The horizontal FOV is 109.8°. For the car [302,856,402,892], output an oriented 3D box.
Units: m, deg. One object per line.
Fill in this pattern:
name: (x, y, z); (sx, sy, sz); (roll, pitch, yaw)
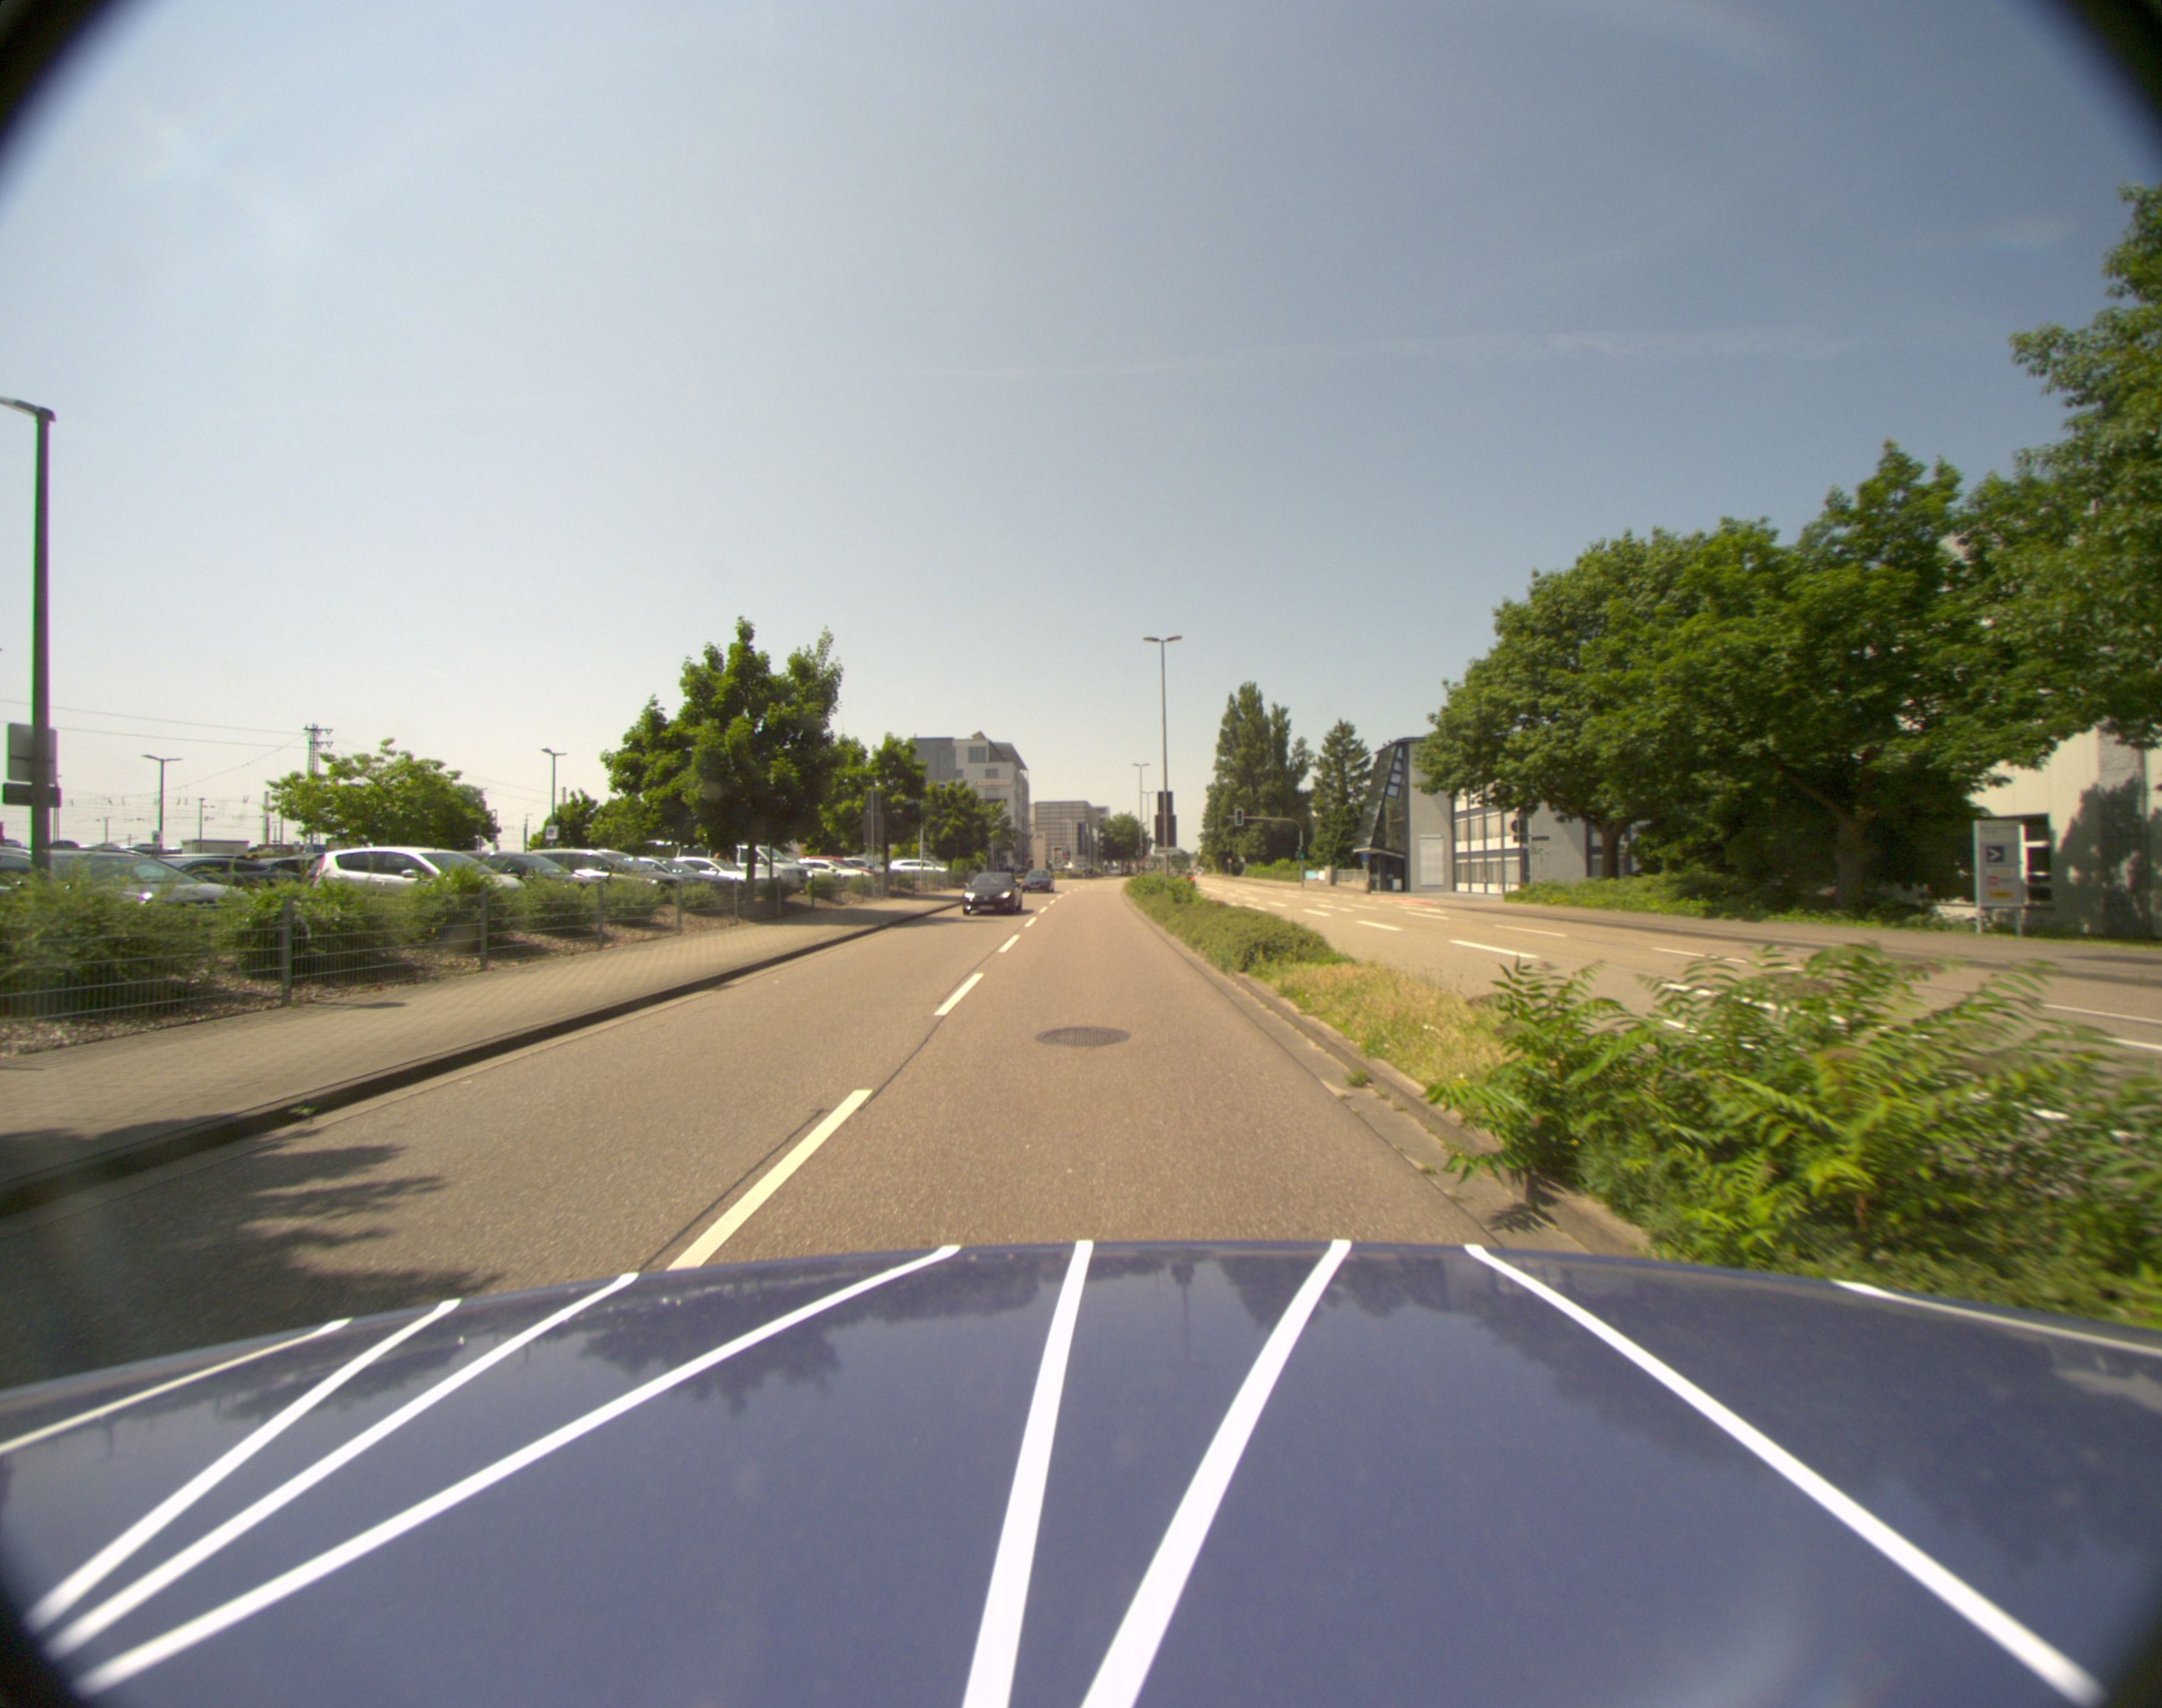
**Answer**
car: (-30.341, 0.836, 31.716); (1.268, 1.411, 2.958); (1, -1, 1)

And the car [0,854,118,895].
car: (-44.677, 0.868, 32.536); (1.784, 1.674, 3.860); (0, -1, 6)

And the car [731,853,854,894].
car: (-11.866, 0.804, 31.431); (4.377, 1.583, 1.828); (0, -1, 3)

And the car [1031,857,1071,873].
car: (-3.837, 1.420, 96.758); (4.704, 1.787, 2.184); (-3, -1, 7)

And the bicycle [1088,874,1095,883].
bicycle: (1.401, 3.266, 100.842); (0.759, 1.126, 1.908); (-2, -1, 3)

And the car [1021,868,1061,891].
car: (-2.320, 1.499, 45.332); (1.710, 1.315, 3.958); (-1, -1, 7)

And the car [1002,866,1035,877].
car: (-7.713, 2.196, 94.311); (3.880, 1.331, 1.757); (0, -1, 2)

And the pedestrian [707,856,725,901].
pedestrian: (-13.080, 0.870, 27.250); (0.416, 1.605, 0.447); (1, 0, -2)

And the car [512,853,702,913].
car: (-12.743, 0.748, 20.595); (3.996, 1.525, 1.827); (0, 0, 3)

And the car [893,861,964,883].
car: (-10.695, 1.251, 53.379); (4.587, 1.496, 1.698); (0, -1, 1)

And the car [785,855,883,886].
car: (-11.612, 0.768, 35.873); (4.005, 1.413, 1.698); (0, -1, 2)

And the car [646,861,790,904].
car: (-12.258, 0.942, 25.808); (3.996, 1.381, 1.828); (0, -1, 3)

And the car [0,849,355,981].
car: (-13.379, 0.742, 10.344); (5.003, 1.586, 2.023); (1, 0, 0)

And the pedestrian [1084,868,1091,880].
pedestrian: (0.956, 2.741, 104.526); (0.830, 1.616, 1.005); (-1, 1, 5)

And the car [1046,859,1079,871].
car: (-2.606, 1.531, 108.018); (4.473, 1.600, 2.097); (-2, 0, 3)

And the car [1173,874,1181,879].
car: (26.468, 6.266, 209.938); (1.763, 1.410, 4.094); (1, -1, 3)

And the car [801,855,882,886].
car: (-12.282, 0.830, 39.100); (3.598, 1.527, 1.723); (0, -1, 0)

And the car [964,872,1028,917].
car: (-2.778, 1.321, 25.539); (1.641, 1.348, 3.500); (-1, -1, 1)

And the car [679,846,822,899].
car: (-12.470, 0.717, 28.807); (4.627, 1.913, 1.828); (0, -1, 3)

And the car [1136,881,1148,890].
car: (9.705, 4.997, 120.717); (1.867, 1.389, 4.002); (0, -1, 3)

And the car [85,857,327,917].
car: (-23.323, 0.857, 20.518); (1.649, 1.433, 4.004); (0, -1, 8)

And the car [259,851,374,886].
car: (-39.098, 0.744, 38.999); (1.784, 1.674, 3.860); (0, -1, 6)

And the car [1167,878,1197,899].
car: (7.259, 2.468, 54.936); (1.733, 1.315, 4.150); (1, -1, 2)

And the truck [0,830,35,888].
truck: (-72.968, 0.248, 46.698); (2.856, 3.814, 10.038); (1, -1, 5)

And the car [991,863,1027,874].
car: (-8.539, 1.705, 89.960); (3.996, 1.331, 1.864); (0, -1, 2)

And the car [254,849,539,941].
car: (-13.653, 0.791, 15.359); (3.997, 1.586, 1.827); (-2, -1, -2)

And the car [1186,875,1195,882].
car: (29.264, 6.541, 203.040); (1.898, 1.550, 4.289); (1, -1, 4)

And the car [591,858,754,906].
car: (-12.401, 0.835, 23.234); (3.996, 1.381, 1.828); (0, -1, 3)

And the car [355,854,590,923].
car: (-14.254, 0.777, 17.988); (3.998, 1.525, 1.826); (0, 0, -3)

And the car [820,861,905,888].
car: (-11.984, 1.128, 41.811); (4.179, 1.413, 1.699); (0, -1, 4)
